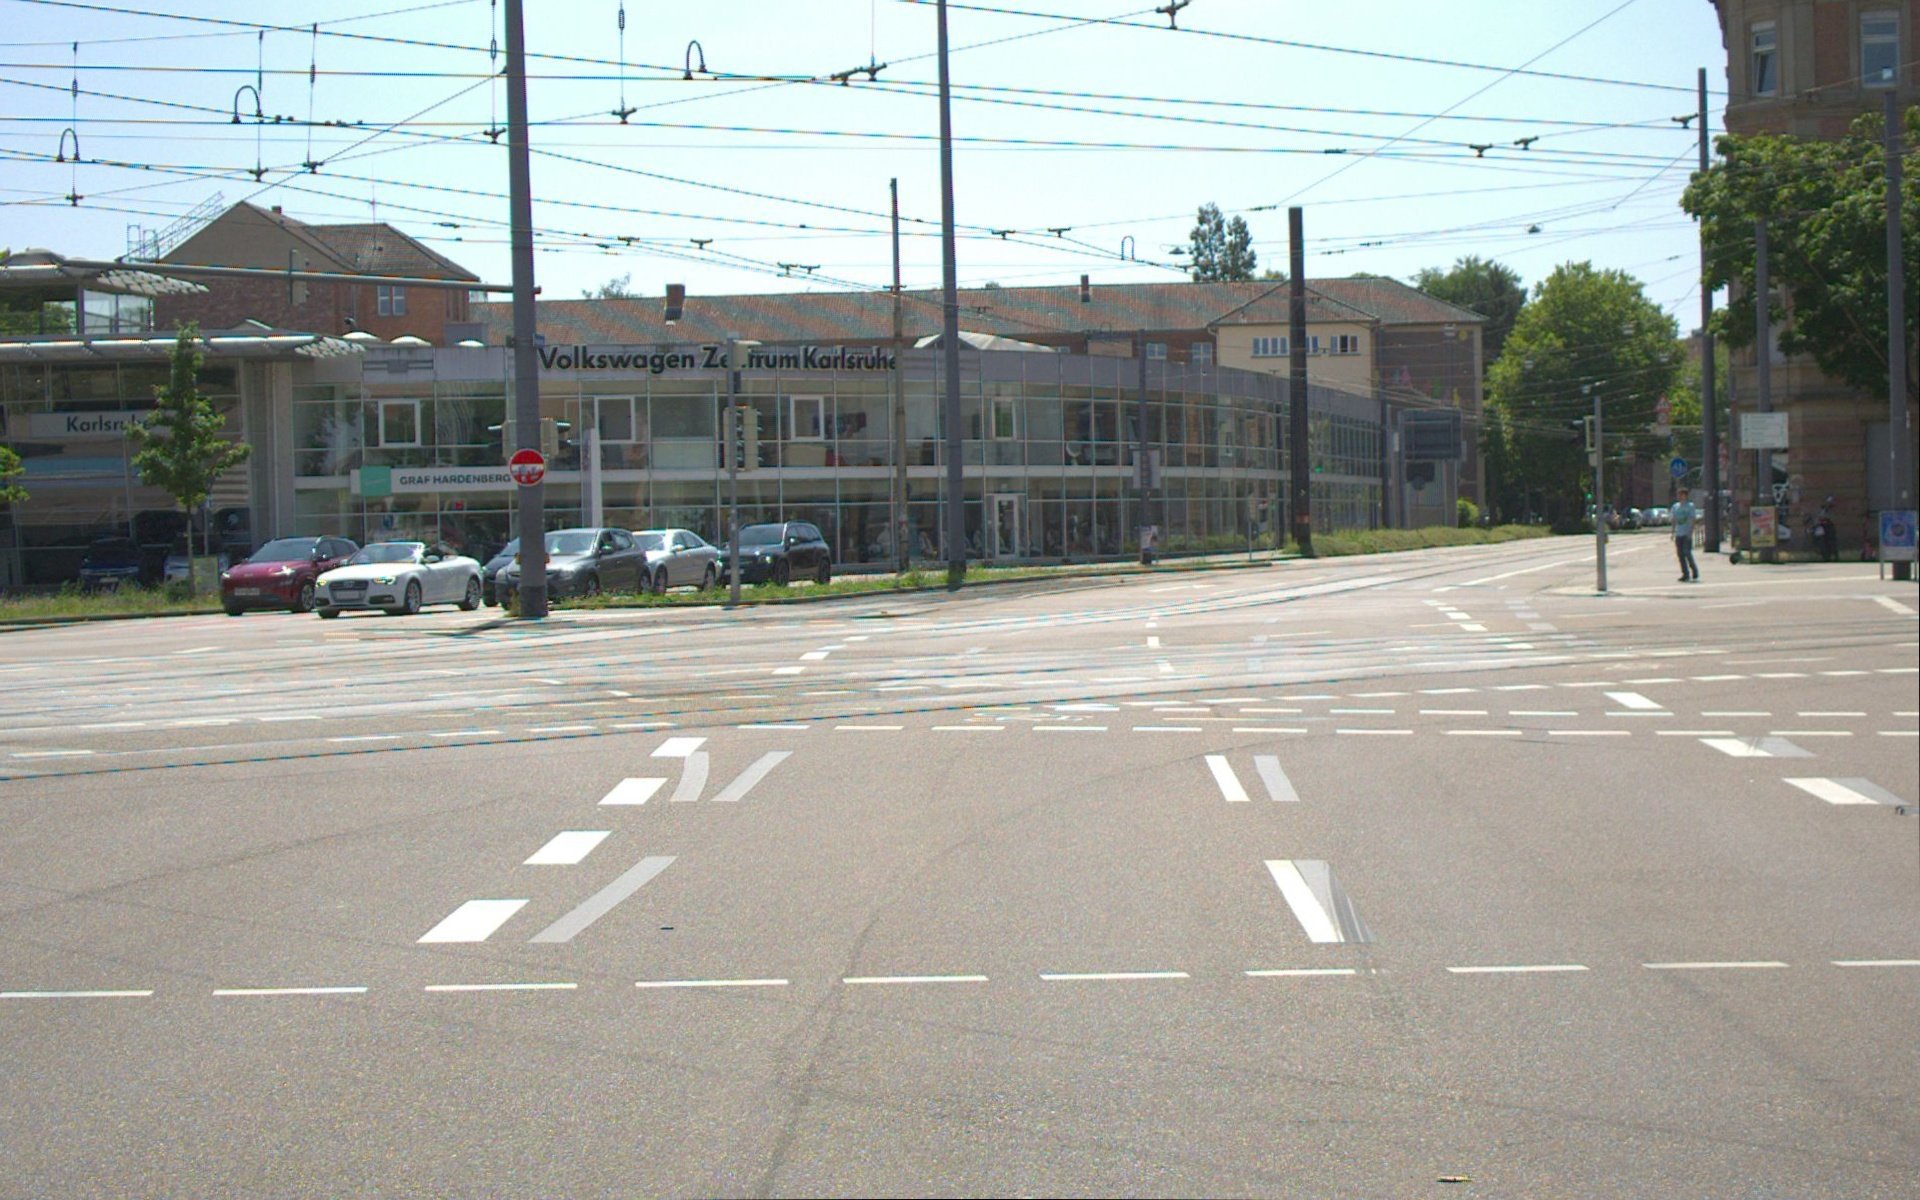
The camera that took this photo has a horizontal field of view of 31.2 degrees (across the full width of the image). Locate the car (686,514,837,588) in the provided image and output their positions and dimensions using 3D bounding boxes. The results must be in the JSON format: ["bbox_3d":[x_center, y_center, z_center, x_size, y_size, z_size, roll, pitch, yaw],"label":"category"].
[{"bbox_3d":[-4.748,-1.213,83.057,2.080,1.677,4.842,-1,1,17],"label":"car"}]

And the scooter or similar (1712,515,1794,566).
[{"bbox_3d":[18.840,-1.419,81.672,1.786,1.177,0.600,-1,1,-13],"label":"scooter or similar"}]

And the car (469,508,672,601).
[{"bbox_3d":[-7.239,-0.885,64.432,1.995,1.631,4.842,-1,1,17],"label":"car"}]

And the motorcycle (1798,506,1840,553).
[{"bbox_3d":[19.730,-1.623,79.001,0.580,1.071,1.946,-1,1,3],"label":"motorcycle"}]

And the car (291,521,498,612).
[{"bbox_3d":[-10.485,-0.655,64.126,2.078,1.574,4.844,-1,1,13],"label":"car"}]

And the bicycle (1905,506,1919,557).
[{"bbox_3d":[22.028,-1.554,78.668,0.442,1.142,2.093,1,0,6],"label":"bicycle"}]

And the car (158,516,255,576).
[{"bbox_3d":[-21.920,-1.561,100.086,1.920,1.701,4.000,1,0,0],"label":"car"}]

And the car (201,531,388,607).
[{"bbox_3d":[-13.764,-0.664,71.416,1.995,1.460,4.844,-1,1,13],"label":"car"}]

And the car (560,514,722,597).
[{"bbox_3d":[-7.029,-1.003,76.203,1.995,1.733,4.540,-1,1,17],"label":"car"}]

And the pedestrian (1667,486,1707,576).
[{"bbox_3d":[13.922,-1.319,65.856,0.460,1.702,0.640,-2,1,-18],"label":"pedestrian"}]

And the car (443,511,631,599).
[{"bbox_3d":[-8.587,-0.951,70.260,1.995,1.694,4.842,-1,1,17],"label":"car"}]

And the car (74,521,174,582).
[{"bbox_3d":[-24.282,-1.396,99.996,1.920,1.701,4.000,1,0,0],"label":"car"}]
